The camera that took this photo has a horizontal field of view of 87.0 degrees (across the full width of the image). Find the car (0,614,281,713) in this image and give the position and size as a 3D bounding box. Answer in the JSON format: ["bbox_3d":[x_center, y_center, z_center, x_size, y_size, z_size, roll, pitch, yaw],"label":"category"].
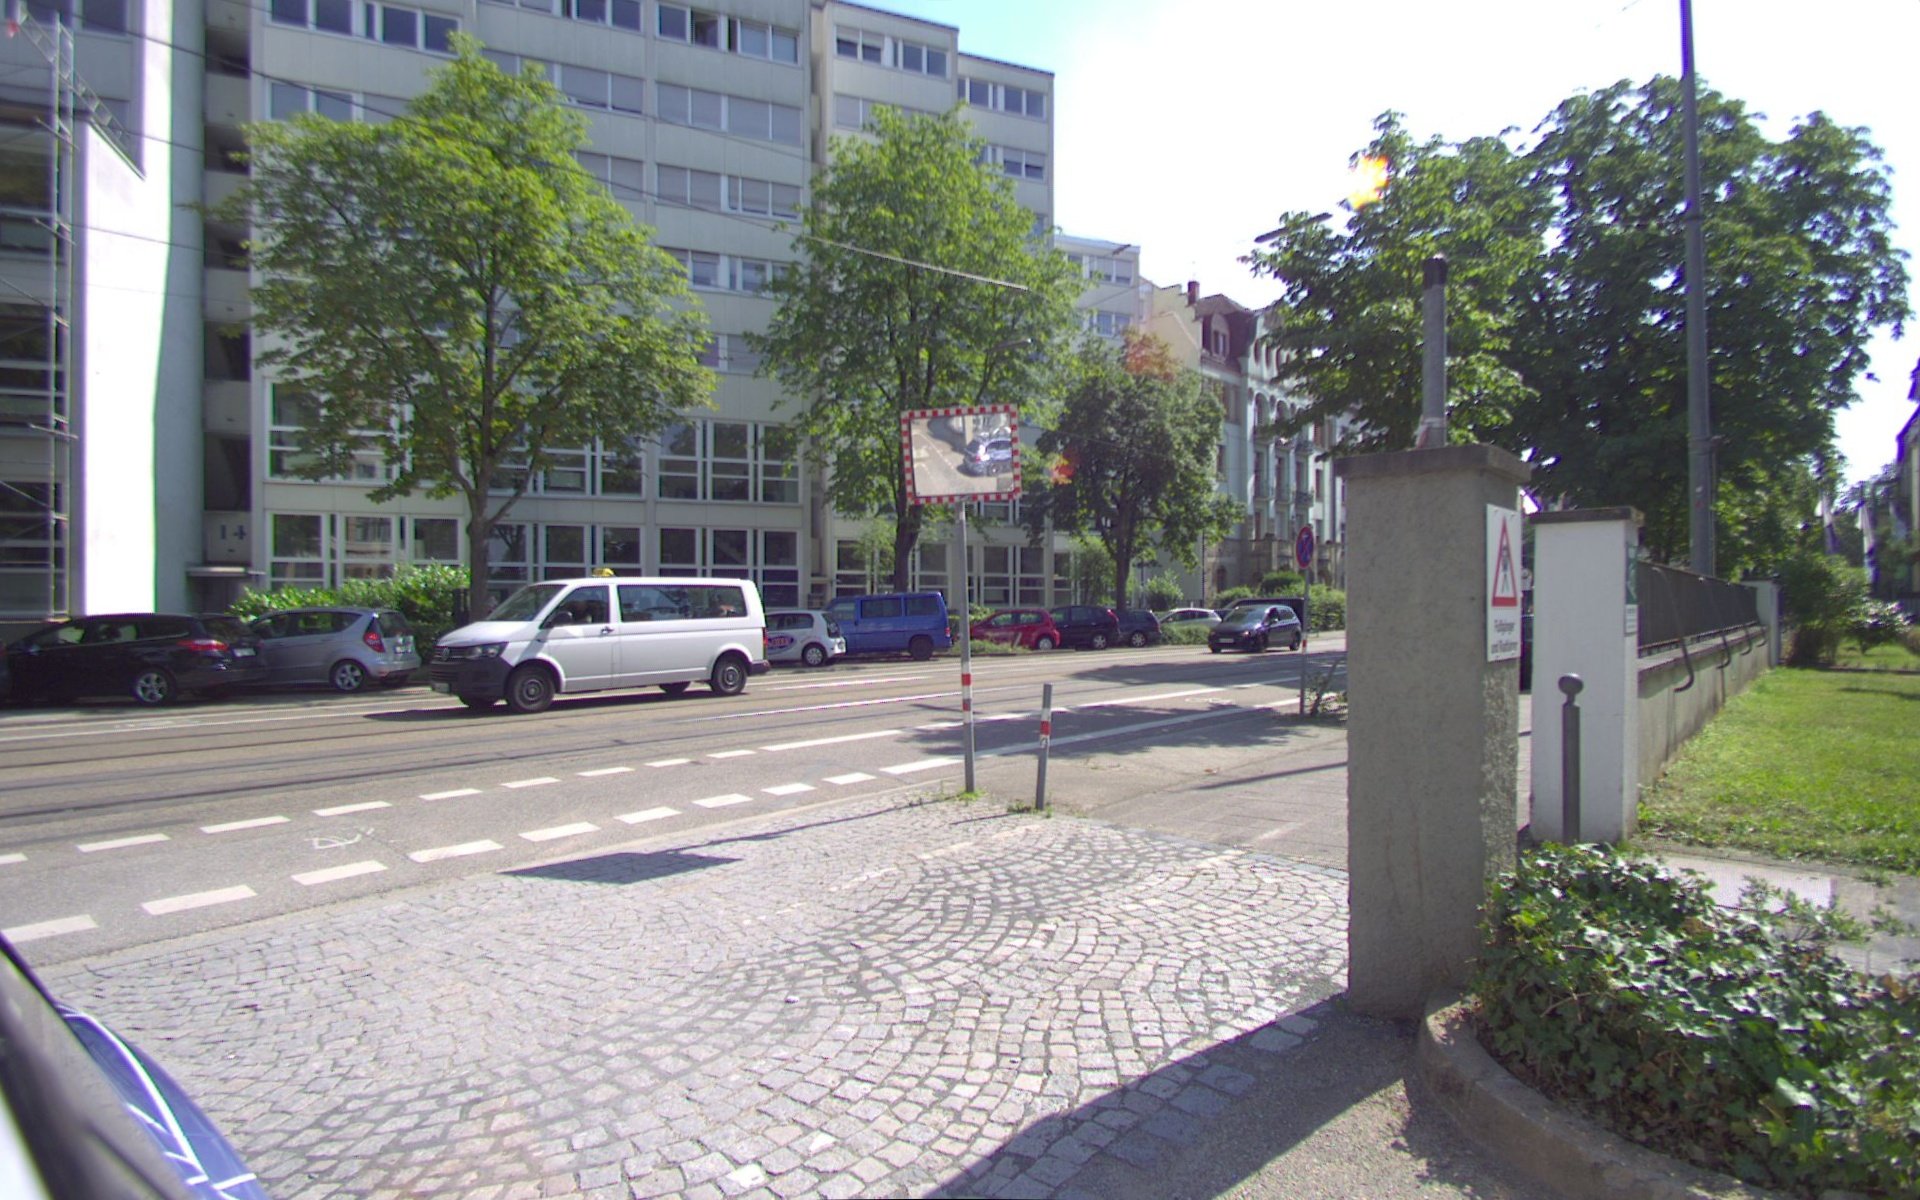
[{"bbox_3d":[-13.799,0.992,16.546,4.120,1.487,1.804,-1,-1,-7],"label":"car"}]

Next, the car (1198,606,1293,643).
[{"bbox_3d":[13.510,1.149,48.042,3.943,1.674,1.829,-1,-1,0],"label":"car"}]

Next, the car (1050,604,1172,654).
[{"bbox_3d":[5.316,1.025,35.942,3.940,1.652,1.805,-1,-1,-4],"label":"car"}]

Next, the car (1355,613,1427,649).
[{"bbox_3d":[18.492,1.317,43.332,1.661,1.423,4.119,-2,-1,40],"label":"car"}]

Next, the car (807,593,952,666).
[{"bbox_3d":[-2.279,0.826,28.722,3.940,1.921,1.789,-1,-1,-4],"label":"car"}]

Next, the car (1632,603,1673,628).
[{"bbox_3d":[51.173,1.131,74.728,1.999,1.844,4.408,-1,-1,41],"label":"car"}]

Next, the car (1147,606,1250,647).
[{"bbox_3d":[10.242,1.146,43.681,3.943,1.674,1.829,-1,-1,0],"label":"car"}]

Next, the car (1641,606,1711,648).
[{"bbox_3d":[29.901,1.097,42.223,1.830,1.674,3.942,-1,-1,44],"label":"car"}]

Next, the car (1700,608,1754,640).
[{"bbox_3d":[41.412,1.265,54.609,1.830,1.674,3.942,-1,-1,44],"label":"car"}]

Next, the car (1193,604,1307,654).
[{"bbox_3d":[9.620,0.930,33.411,1.942,1.533,4.330,-2,-1,41],"label":"car"}]

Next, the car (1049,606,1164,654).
[{"bbox_3d":[5.501,1.115,38.258,3.940,1.652,1.834,-1,-1,-4],"label":"car"}]

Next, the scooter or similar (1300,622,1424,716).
[{"bbox_3d":[5.411,0.908,13.688,0.486,1.194,1.485,0,-2,-40],"label":"scooter or similar"}]

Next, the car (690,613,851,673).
[{"bbox_3d":[-4.886,1.104,26.379,3.804,1.474,1.706,-1,-1,8],"label":"car"}]

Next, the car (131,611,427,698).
[{"bbox_3d":[-12.563,0.975,18.883,4.275,1.497,1.804,-1,-1,-4],"label":"car"}]

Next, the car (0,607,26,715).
[{"bbox_3d":[-16.070,0.909,14.086,4.323,1.577,1.810,-1,0,-5],"label":"car"}]

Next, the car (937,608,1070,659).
[{"bbox_3d":[1.400,1.086,33.545,4.156,1.550,1.784,-1,-1,-4],"label":"car"}]

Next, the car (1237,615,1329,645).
[{"bbox_3d":[16.079,1.503,50.449,3.941,1.428,1.786,0,-1,-2],"label":"car"}]

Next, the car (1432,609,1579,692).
[{"bbox_3d":[11.166,0.962,20.608,1.733,1.487,3.944,-2,-2,42],"label":"car"}]

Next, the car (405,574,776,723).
[{"bbox_3d":[-5.581,0.655,15.926,1.995,1.960,5.177,-1,-1,41],"label":"car"}]
